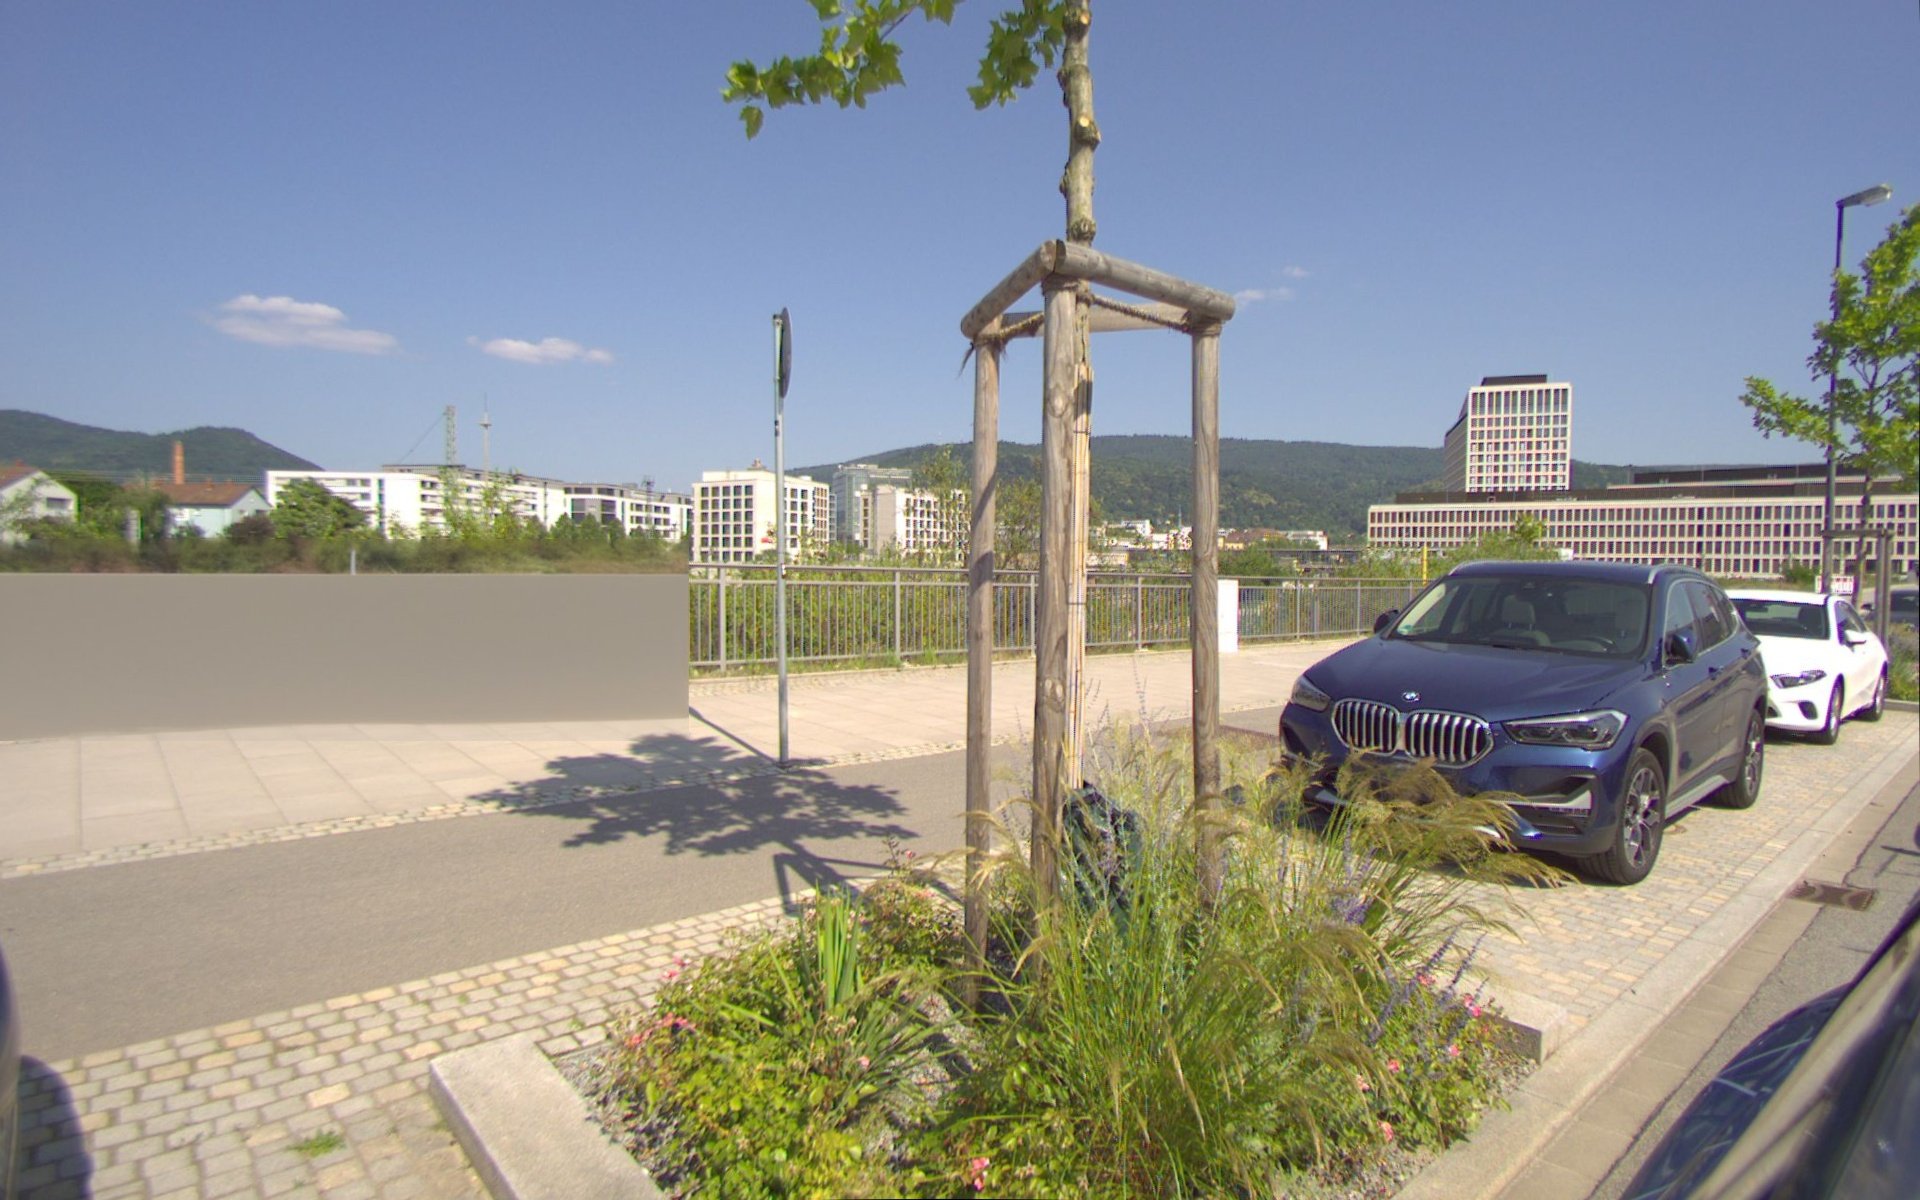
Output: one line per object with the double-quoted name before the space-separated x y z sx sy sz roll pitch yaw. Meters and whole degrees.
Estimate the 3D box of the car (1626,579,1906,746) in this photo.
"car" 8.753 0.529 10.875 3.930 1.473 1.663 -1 0 -41

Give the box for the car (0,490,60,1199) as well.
"car" -2.974 0.570 0.371 3.933 1.443 1.663 -1 4 -43

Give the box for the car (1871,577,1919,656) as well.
"car" 20.448 0.303 21.125 3.930 1.558 1.663 -1 0 -41

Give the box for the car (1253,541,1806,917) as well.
"car" 3.802 0.535 6.425 4.164 1.627 1.768 -1 0 -41
